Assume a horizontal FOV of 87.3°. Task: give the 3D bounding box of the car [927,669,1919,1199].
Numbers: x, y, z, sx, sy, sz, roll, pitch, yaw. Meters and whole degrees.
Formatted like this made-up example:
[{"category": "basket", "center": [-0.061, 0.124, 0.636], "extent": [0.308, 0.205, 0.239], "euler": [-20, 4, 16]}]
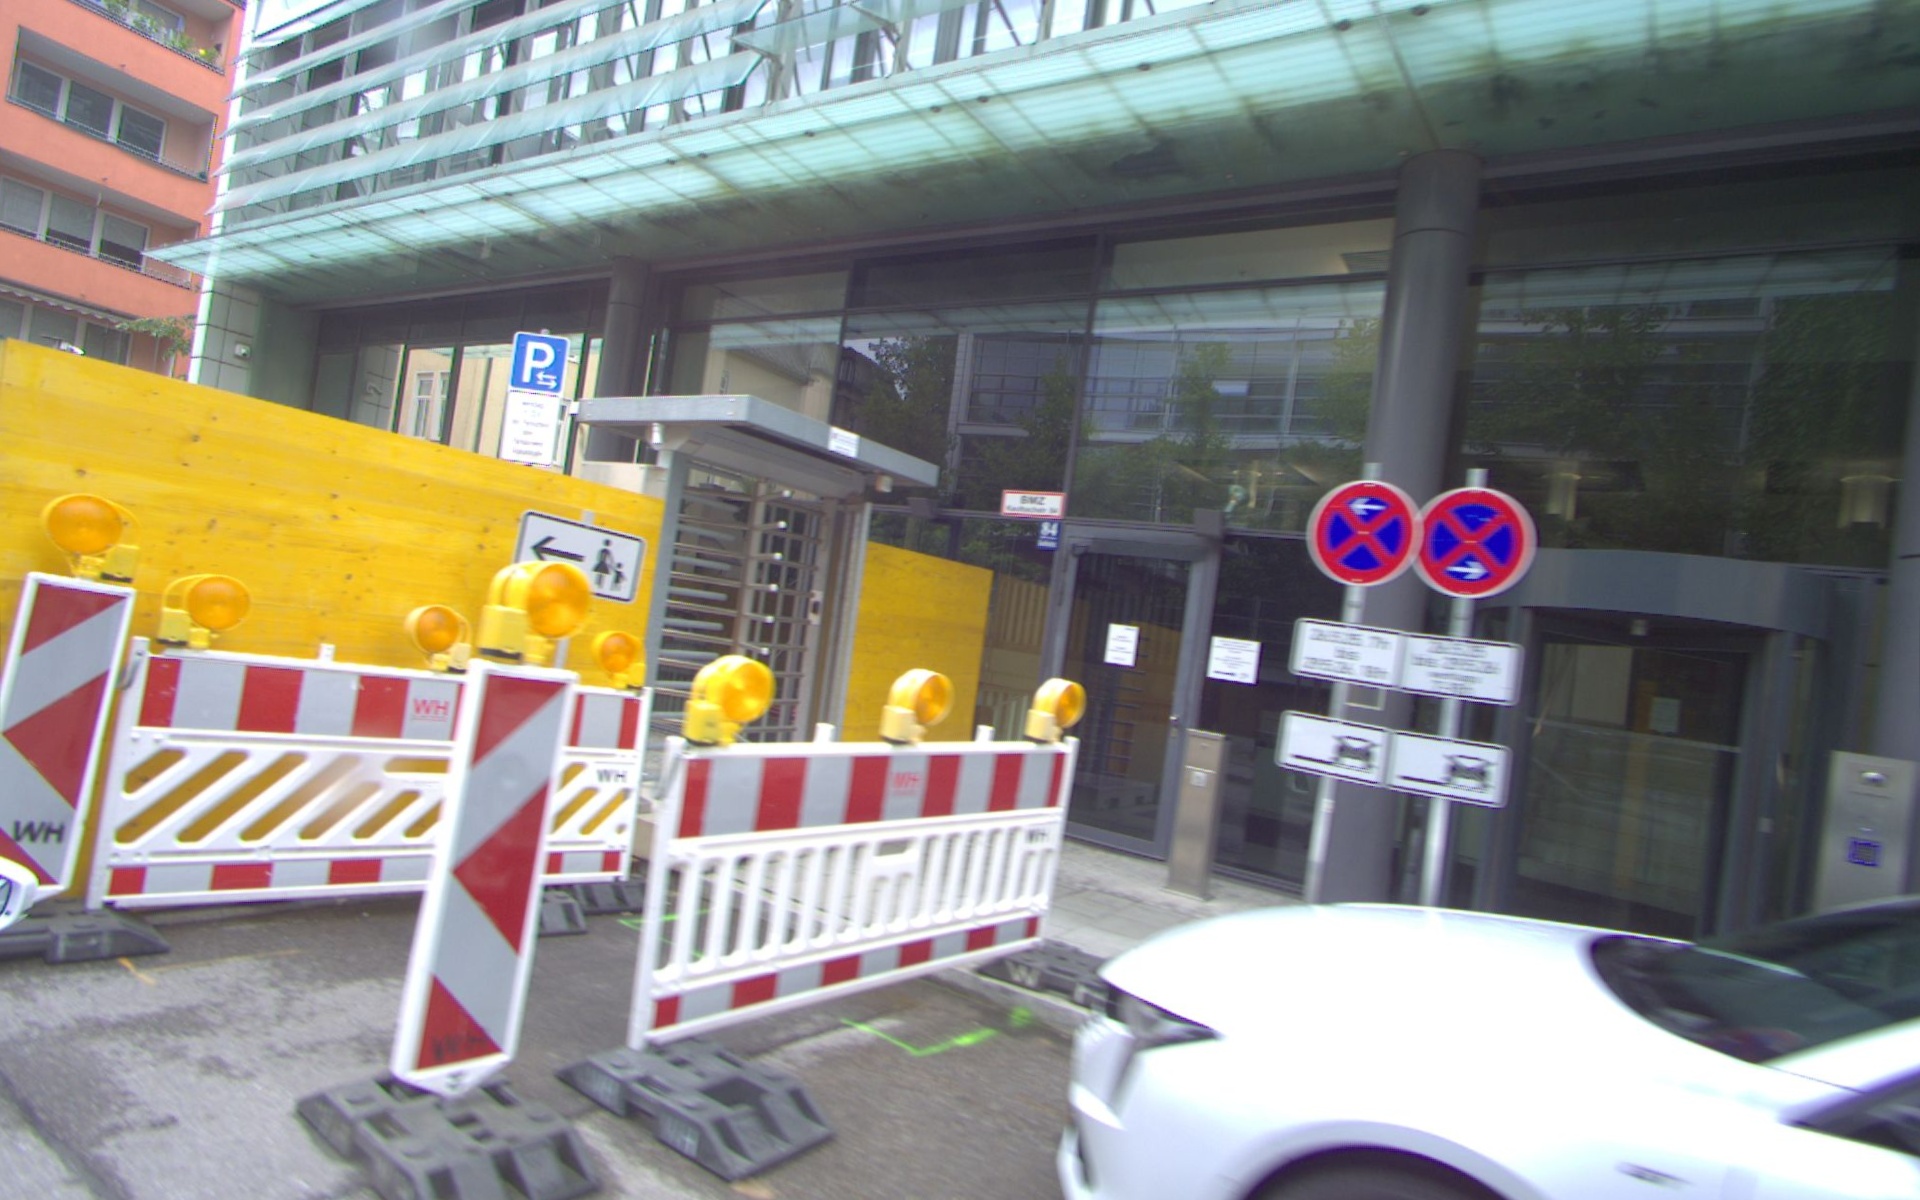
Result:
[{"category": "car", "center": [2.292, 1.208, 1.803], "extent": [4.436, 1.429, 1.713], "euler": [7, -4, 33]}]
